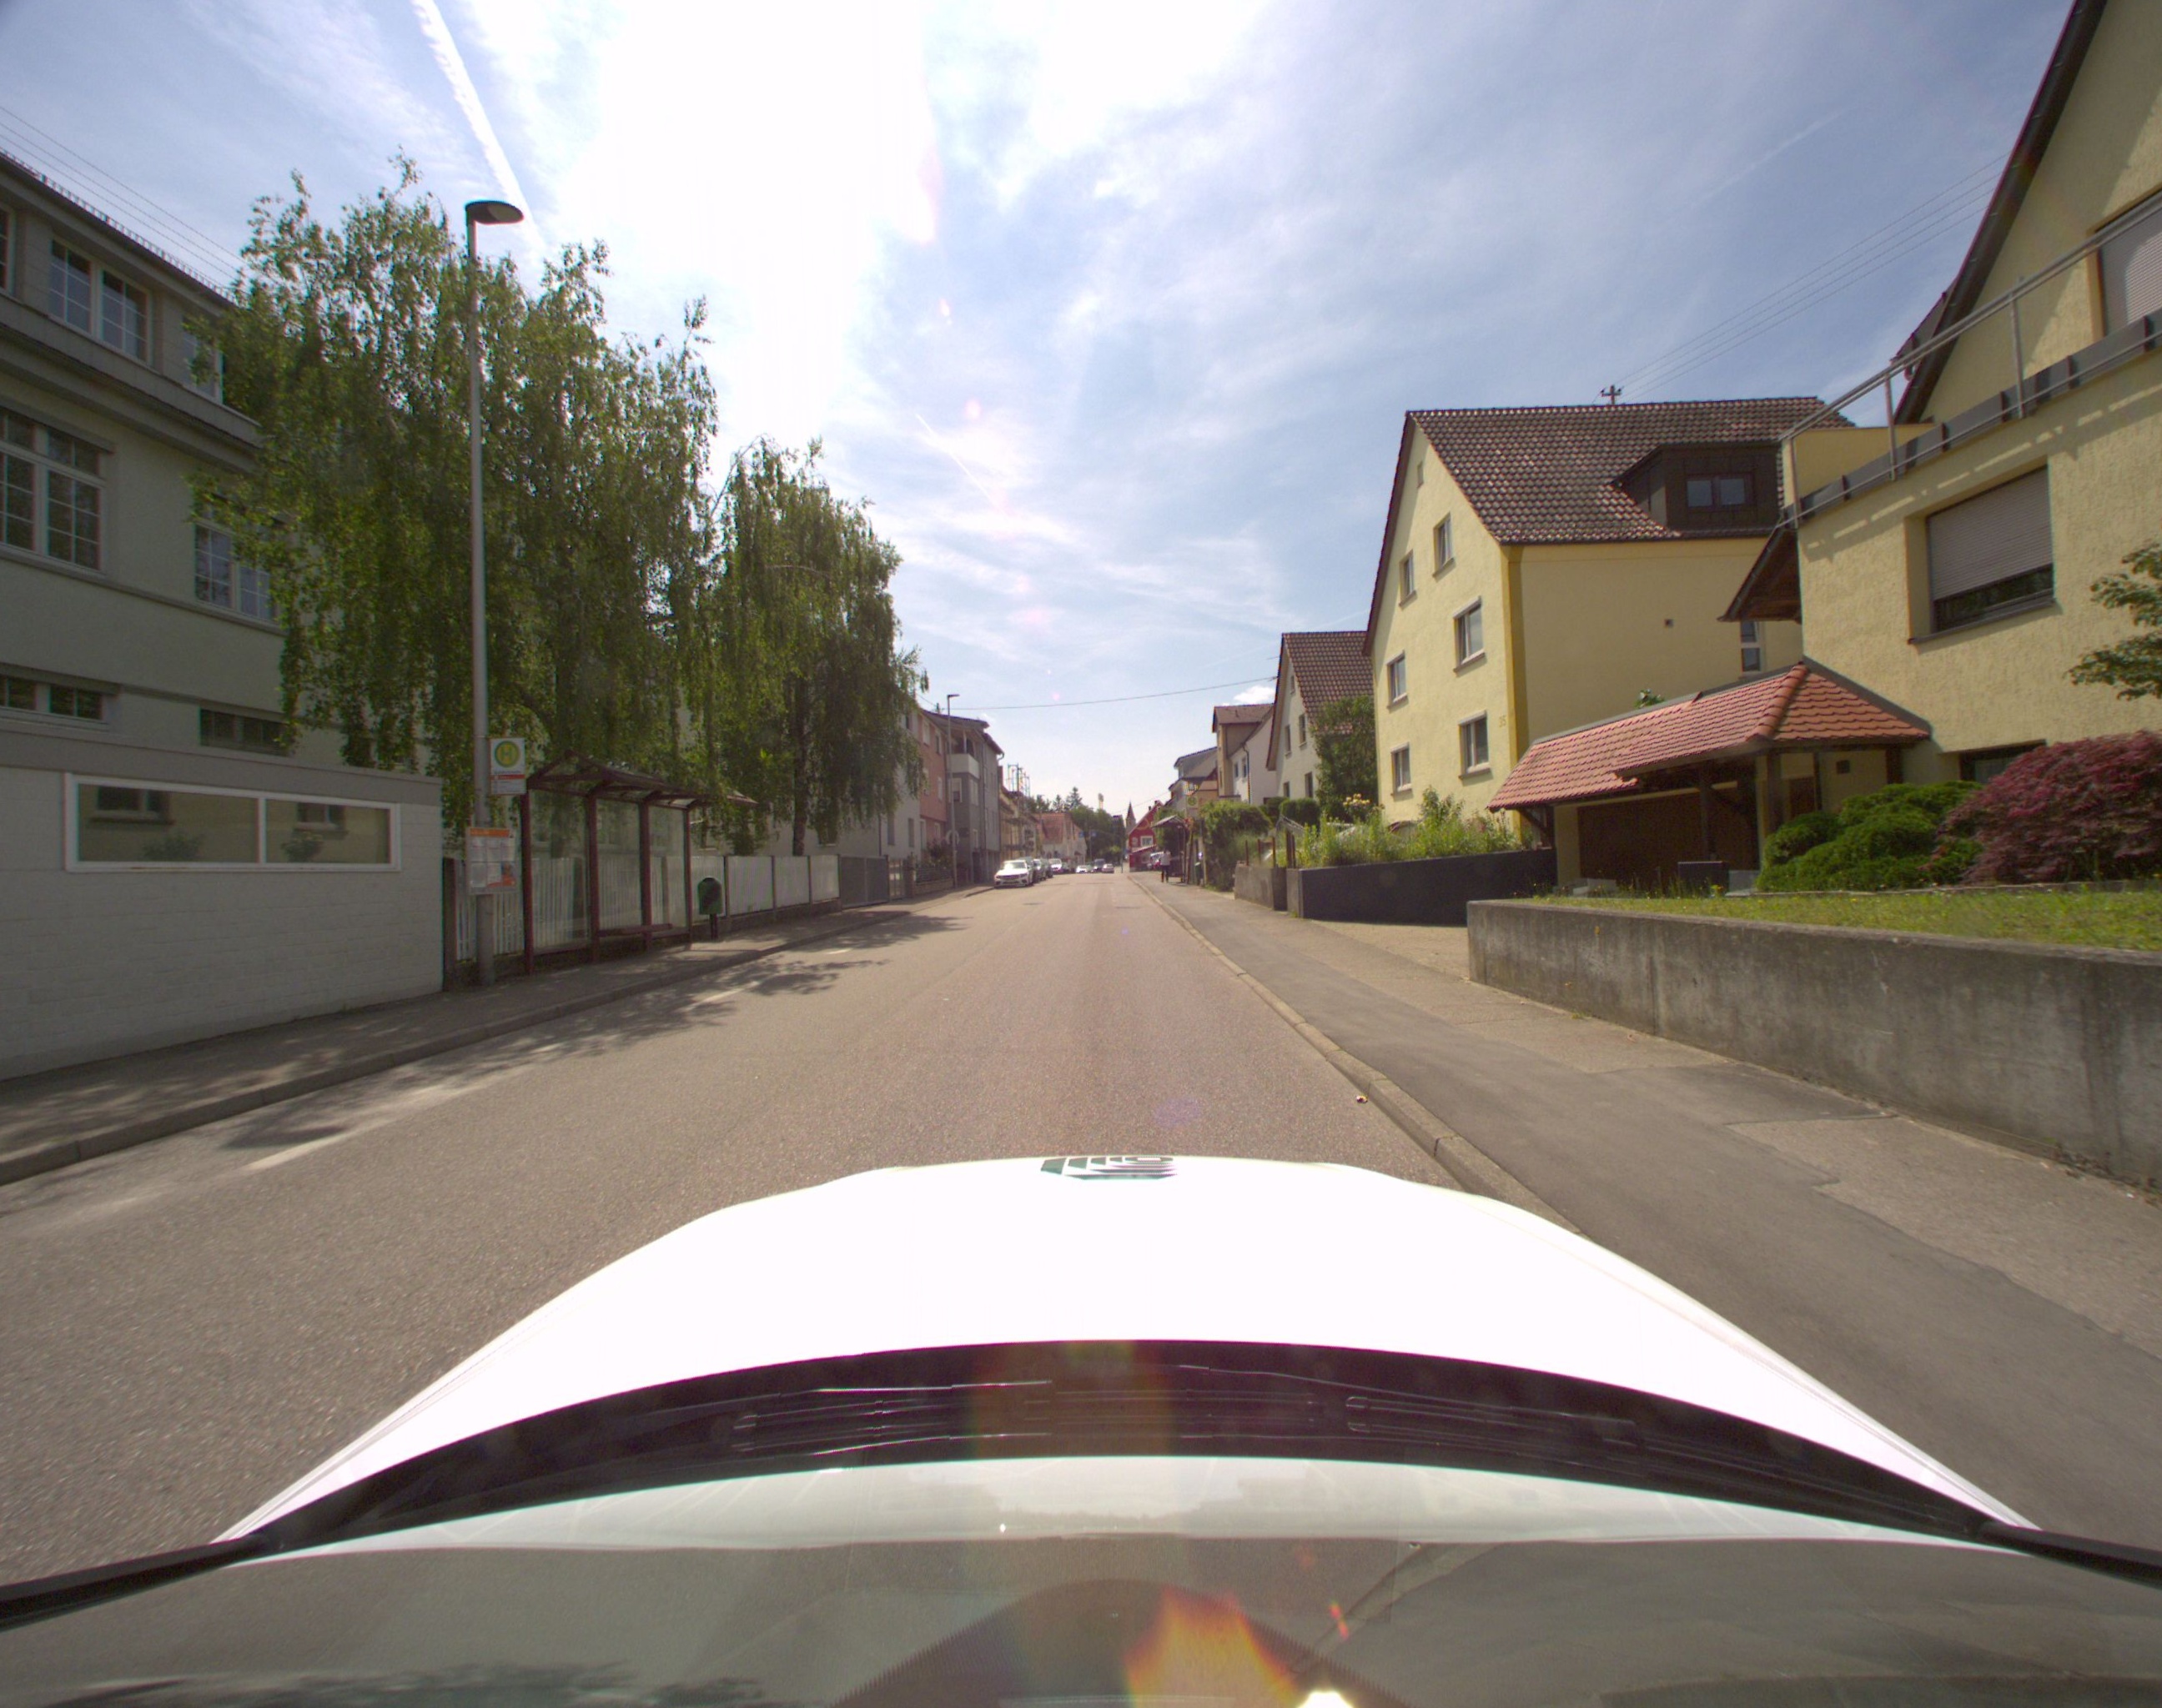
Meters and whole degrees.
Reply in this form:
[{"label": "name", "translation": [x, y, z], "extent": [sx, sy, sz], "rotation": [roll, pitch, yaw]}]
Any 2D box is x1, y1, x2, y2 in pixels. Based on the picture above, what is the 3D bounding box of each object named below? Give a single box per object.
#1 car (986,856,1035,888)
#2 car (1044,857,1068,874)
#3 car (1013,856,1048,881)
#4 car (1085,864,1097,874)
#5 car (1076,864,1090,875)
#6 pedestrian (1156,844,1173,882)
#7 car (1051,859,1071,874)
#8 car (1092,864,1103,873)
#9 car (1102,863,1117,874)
[{"label": "car", "translation": [-3.777, 0.921, 44.477], "extent": [2.103, 1.560, 4.315], "rotation": [-2, 0, 1]}, {"label": "car", "translation": [-2.455, 1.111, 79.959], "extent": [1.986, 1.560, 4.315], "rotation": [-2, 0, 2]}, {"label": "car", "translation": [-3.397, 0.967, 55.407], "extent": [1.986, 1.560, 4.315], "rotation": [-2, 0, 1]}, {"label": "car", "translation": [1.693, 2.499, 134.192], "extent": [1.833, 1.464, 4.003], "rotation": [-3, 0, 2]}, {"label": "car", "translation": [0.365, 2.306, 122.393], "extent": [1.832, 1.464, 4.004], "rotation": [-3, 0, 4]}, {"label": "pedestrian", "translation": [3.959, 0.409, 38.669], "extent": [0.644, 1.729, 0.609], "rotation": [-4, 0, 1]}, {"label": "car", "translation": [-2.272, 1.412, 92.909], "extent": [1.987, 1.560, 4.314], "rotation": [-2, 0, 1]}, {"label": "car", "translation": [3.004, 2.632, 148.834], "extent": [1.833, 1.464, 4.002], "rotation": [-3, 0, 2]}, {"label": "car", "translation": [4.315, 2.224, 123.091], "extent": [1.988, 1.560, 4.311], "rotation": [-2, 0, -1]}]
